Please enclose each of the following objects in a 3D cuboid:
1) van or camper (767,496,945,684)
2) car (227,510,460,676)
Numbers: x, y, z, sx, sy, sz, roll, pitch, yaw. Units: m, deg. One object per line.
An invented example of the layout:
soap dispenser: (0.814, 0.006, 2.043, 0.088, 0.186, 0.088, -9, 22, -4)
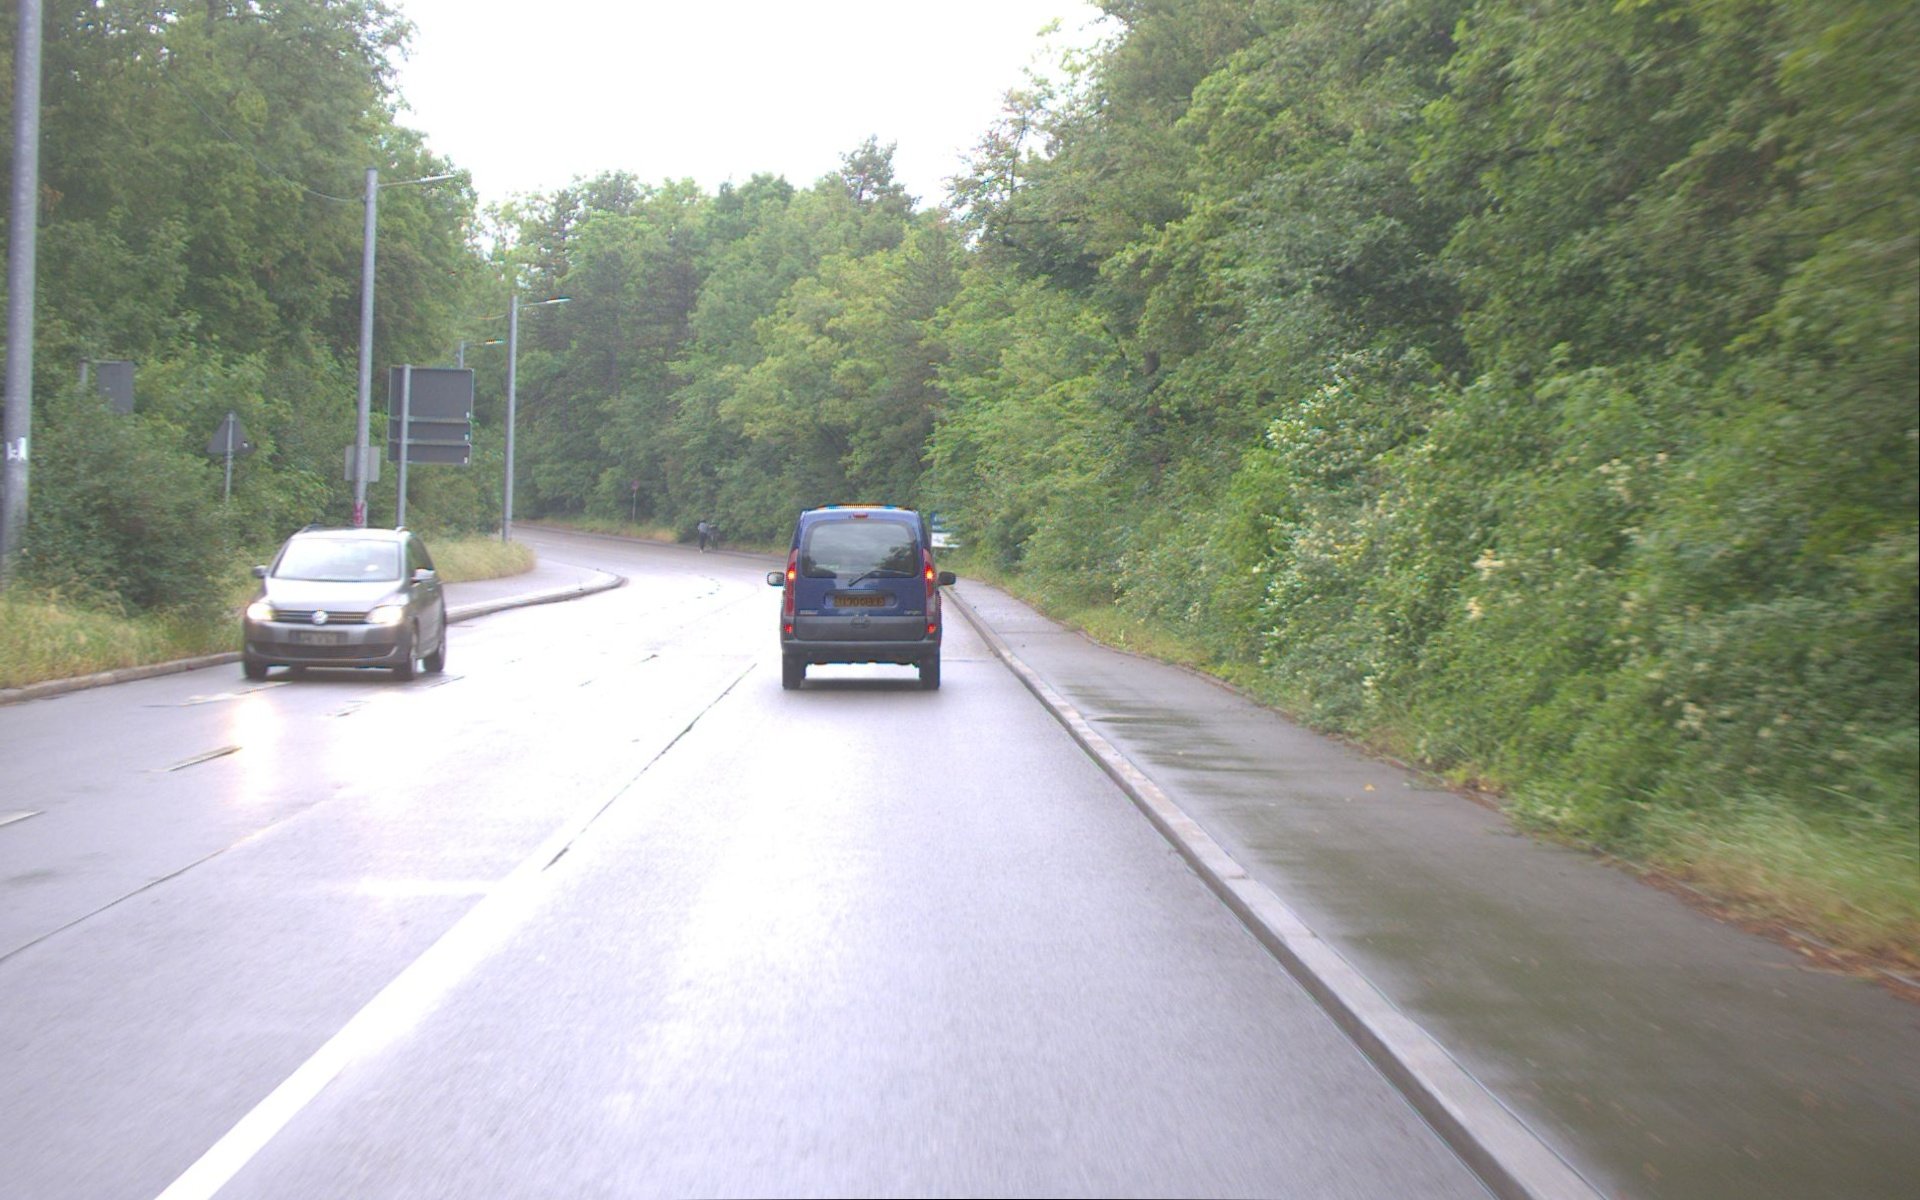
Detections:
van or camper: (-1.107, -0.115, 36.025, 1.712, 1.819, 4.000, 1, 0, -2)
car: (-6.496, -0.108, 36.600, 1.771, 1.605, 4.084, 2, 1, -1)
